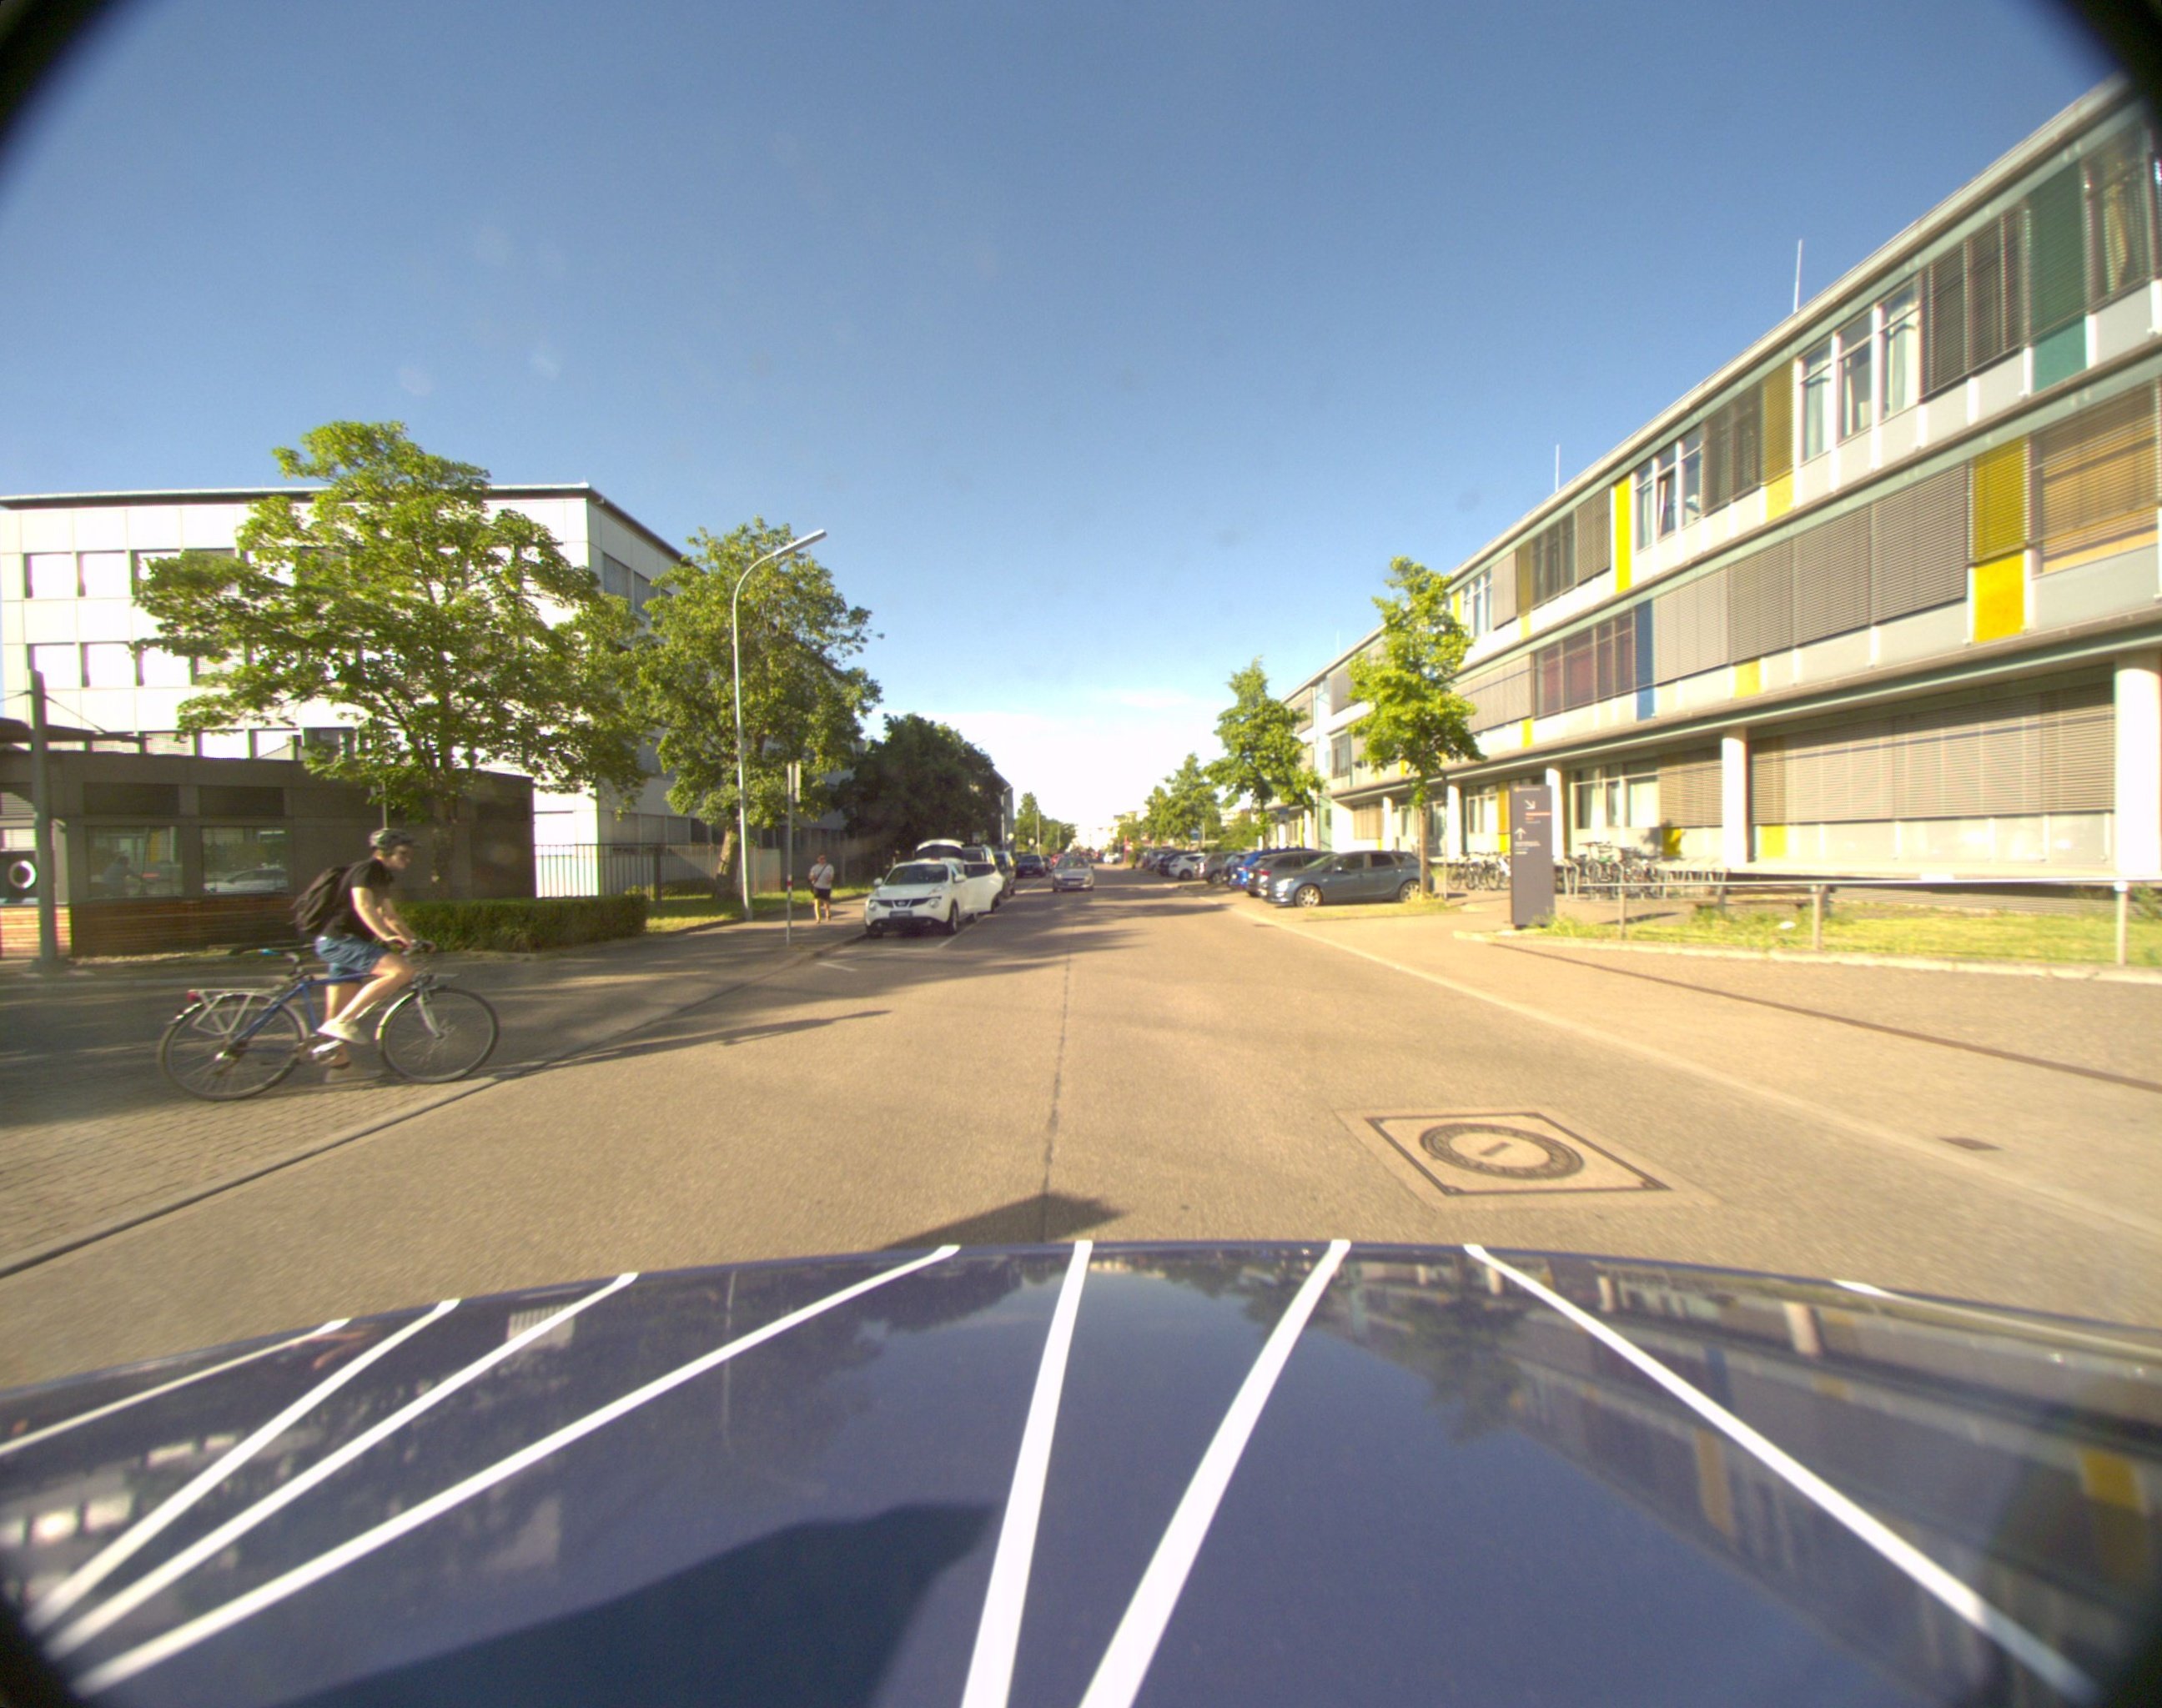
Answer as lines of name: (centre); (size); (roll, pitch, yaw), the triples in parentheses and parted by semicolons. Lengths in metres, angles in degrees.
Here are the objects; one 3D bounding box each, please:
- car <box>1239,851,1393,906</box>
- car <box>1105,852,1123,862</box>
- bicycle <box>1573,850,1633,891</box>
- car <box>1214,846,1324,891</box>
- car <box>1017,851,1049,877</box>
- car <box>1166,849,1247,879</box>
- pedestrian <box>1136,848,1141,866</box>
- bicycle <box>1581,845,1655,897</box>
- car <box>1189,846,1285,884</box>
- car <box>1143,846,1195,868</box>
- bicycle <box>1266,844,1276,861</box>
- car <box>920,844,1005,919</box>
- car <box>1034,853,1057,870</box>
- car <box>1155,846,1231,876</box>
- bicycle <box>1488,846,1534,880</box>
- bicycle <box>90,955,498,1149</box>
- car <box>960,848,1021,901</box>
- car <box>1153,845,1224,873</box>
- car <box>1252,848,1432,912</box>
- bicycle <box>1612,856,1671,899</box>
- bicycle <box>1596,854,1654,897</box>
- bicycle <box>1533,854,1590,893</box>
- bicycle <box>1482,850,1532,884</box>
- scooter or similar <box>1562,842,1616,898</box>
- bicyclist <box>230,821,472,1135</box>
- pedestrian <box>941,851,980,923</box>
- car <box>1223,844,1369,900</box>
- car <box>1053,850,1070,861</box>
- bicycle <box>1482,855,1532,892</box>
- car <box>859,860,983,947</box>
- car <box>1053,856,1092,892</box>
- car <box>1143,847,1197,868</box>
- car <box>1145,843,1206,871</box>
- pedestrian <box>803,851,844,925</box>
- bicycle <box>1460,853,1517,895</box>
car: (6.906, 0.691, 22.588); (3.998, 1.429, 1.730); (-2, 1, -2)
car: (4.664, 0.413, 109.213); (2.000, 1.499, 3.997); (0, 1, -6)
bicycle: (15.194, 0.459, 22.176); (0.448, 1.129, 1.855); (-1, 1, -1)
car: (7.380, 0.536, 29.972); (3.752, 1.480, 1.777); (-3, 1, -8)
car: (-3.341, 0.669, 53.866); (1.890, 1.616, 4.294); (-3, 1, 0)
car: (6.942, 0.526, 42.267); (4.102, 1.415, 1.823); (-3, 1, -1)
pedestrian: (5.584, 0.278, 73.527); (0.369, 1.712, 0.479); (-3, 5, -3)
bicycle: (12.720, 0.438, 18.055); (0.353, 1.040, 1.653); (-1, -8, -5)
car: (7.205, 0.507, 35.301); (3.991, 1.480, 1.823); (-3, 1, -1)
car: (7.656, 0.245, 66.571); (4.357, 1.637, 2.000); (-3, 1, 5)
bicycle: (13.416, -0.102, 53.599); (0.462, 1.090, 1.514); (-3, 3, 20)
car: (-3.332, 0.712, 22.330); (1.869, 1.859, 5.020); (-3, 1, -3)
car: (-3.213, 0.667, 70.303); (1.824, 1.435, 4.294); (-3, 1, 0)
car: (7.084, 0.418, 48.209); (4.360, 1.618, 1.999); (-3, 1, -4)
bicycle: (15.767, 0.311, 27.907); (0.648, 1.192, 1.855); (-1, 1, -1)
bicycle: (-5.390, 1.311, 5.402); (1.888, 1.003, 0.699); (1, 1, -29)
car: (-3.352, 0.714, 28.832); (1.706, 1.784, 4.294); (-3, 1, 0)
car: (7.196, 0.340, 51.185); (4.360, 1.581, 1.999); (-3, 1, -4)
car: (6.829, 0.652, 20.153); (4.142, 1.458, 1.753); (-2, 1, -1)
bicycle: (14.102, 0.567, 19.161); (0.353, 1.017, 1.396); (-1, 1, -5)
bicycle: (13.677, 0.520, 19.135); (0.353, 1.017, 1.396); (-1, 1, -5)
bicycle: (13.339, 0.519, 21.146); (0.448, 1.009, 1.779); (-1, 1, -1)
bicycle: (14.505, 0.421, 25.909); (0.648, 1.089, 1.855); (-1, 1, -1)
scooter or similar: (11.822, 0.361, 17.723); (0.471, 1.266, 1.205); (-1, 1, 1)
bicyclist: (-5.193, 0.799, 5.516); (1.054, 2.002, 0.957); (0, 0, -29)
pedestrian: (-3.003, 0.802, 18.993); (0.589, 1.736, 0.706); (-3, 1, 18)
car: (7.039, 0.564, 25.189); (4.232, 1.642, 1.960); (-2, 1, -2)
car: (-2.624, 0.147, 102.258); (1.999, 1.383, 3.998); (0, 1, -4)
bicycle: (12.171, 0.537, 21.751); (0.428, 1.009, 1.779); (-1, 1, -1)
car: (-3.302, 0.950, 16.462); (1.668, 1.505, 4.113); (-3, 1, 1)
car: (-0.354, 0.803, 31.984); (1.551, 1.389, 3.453); (0, 1, 0)
car: (7.429, 0.290, 63.818); (4.357, 1.452, 2.000); (-3, 1, 5)
car: (7.186, 0.242, 57.939); (4.359, 1.852, 2.000); (-3, 1, 1)
pedestrian: (-6.122, 0.801, 18.109); (0.693, 1.719, 0.775); (0, 1, 0)
bicycle: (11.627, 0.551, 21.728); (0.637, 1.136, 1.779); (-1, 1, -1)
